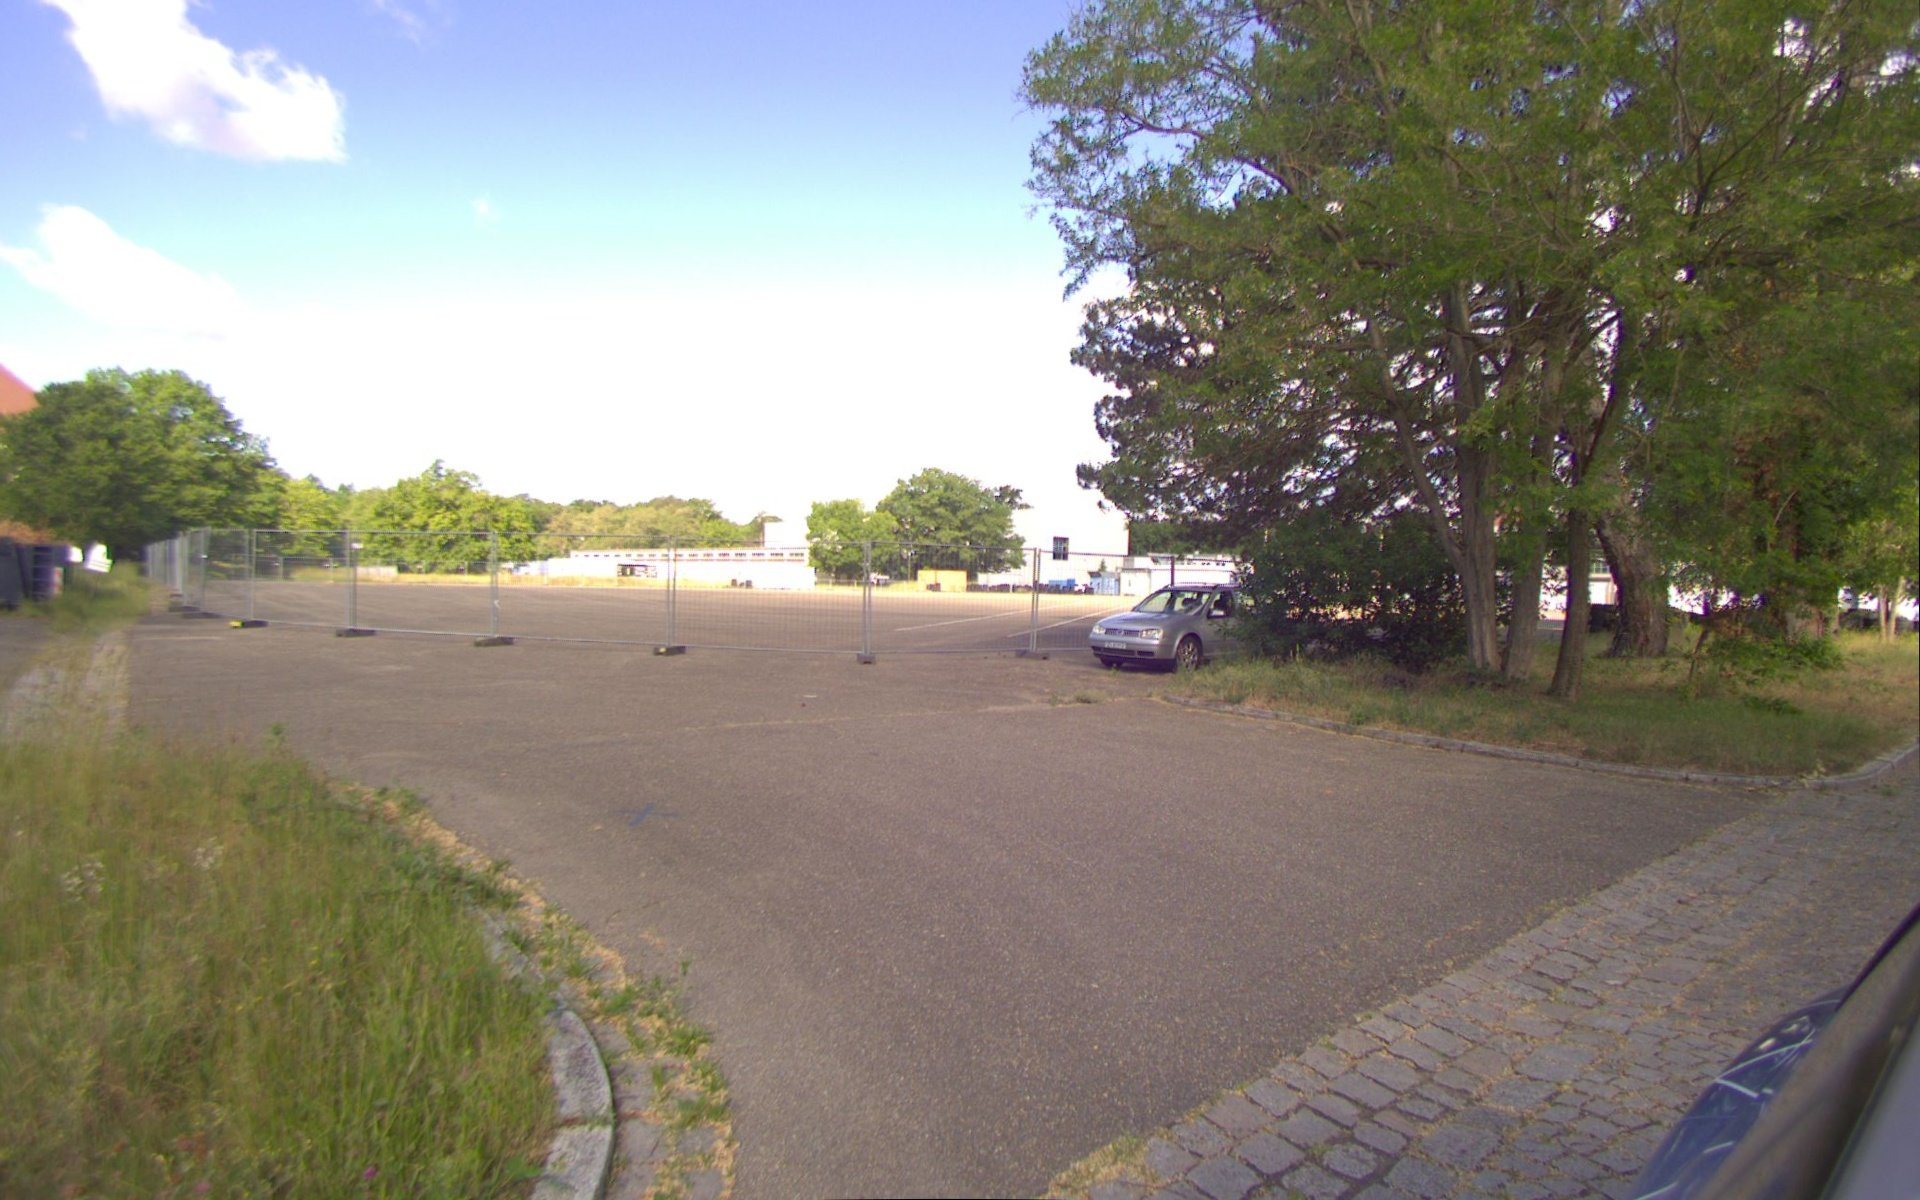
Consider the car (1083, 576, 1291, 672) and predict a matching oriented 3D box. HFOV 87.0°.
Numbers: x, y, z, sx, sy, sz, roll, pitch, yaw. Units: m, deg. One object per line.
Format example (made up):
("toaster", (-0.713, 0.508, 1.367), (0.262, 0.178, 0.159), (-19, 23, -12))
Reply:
("car", (4.008, 0.358, 17.494), (3.920, 1.462, 1.576), (0, 2, -44))
